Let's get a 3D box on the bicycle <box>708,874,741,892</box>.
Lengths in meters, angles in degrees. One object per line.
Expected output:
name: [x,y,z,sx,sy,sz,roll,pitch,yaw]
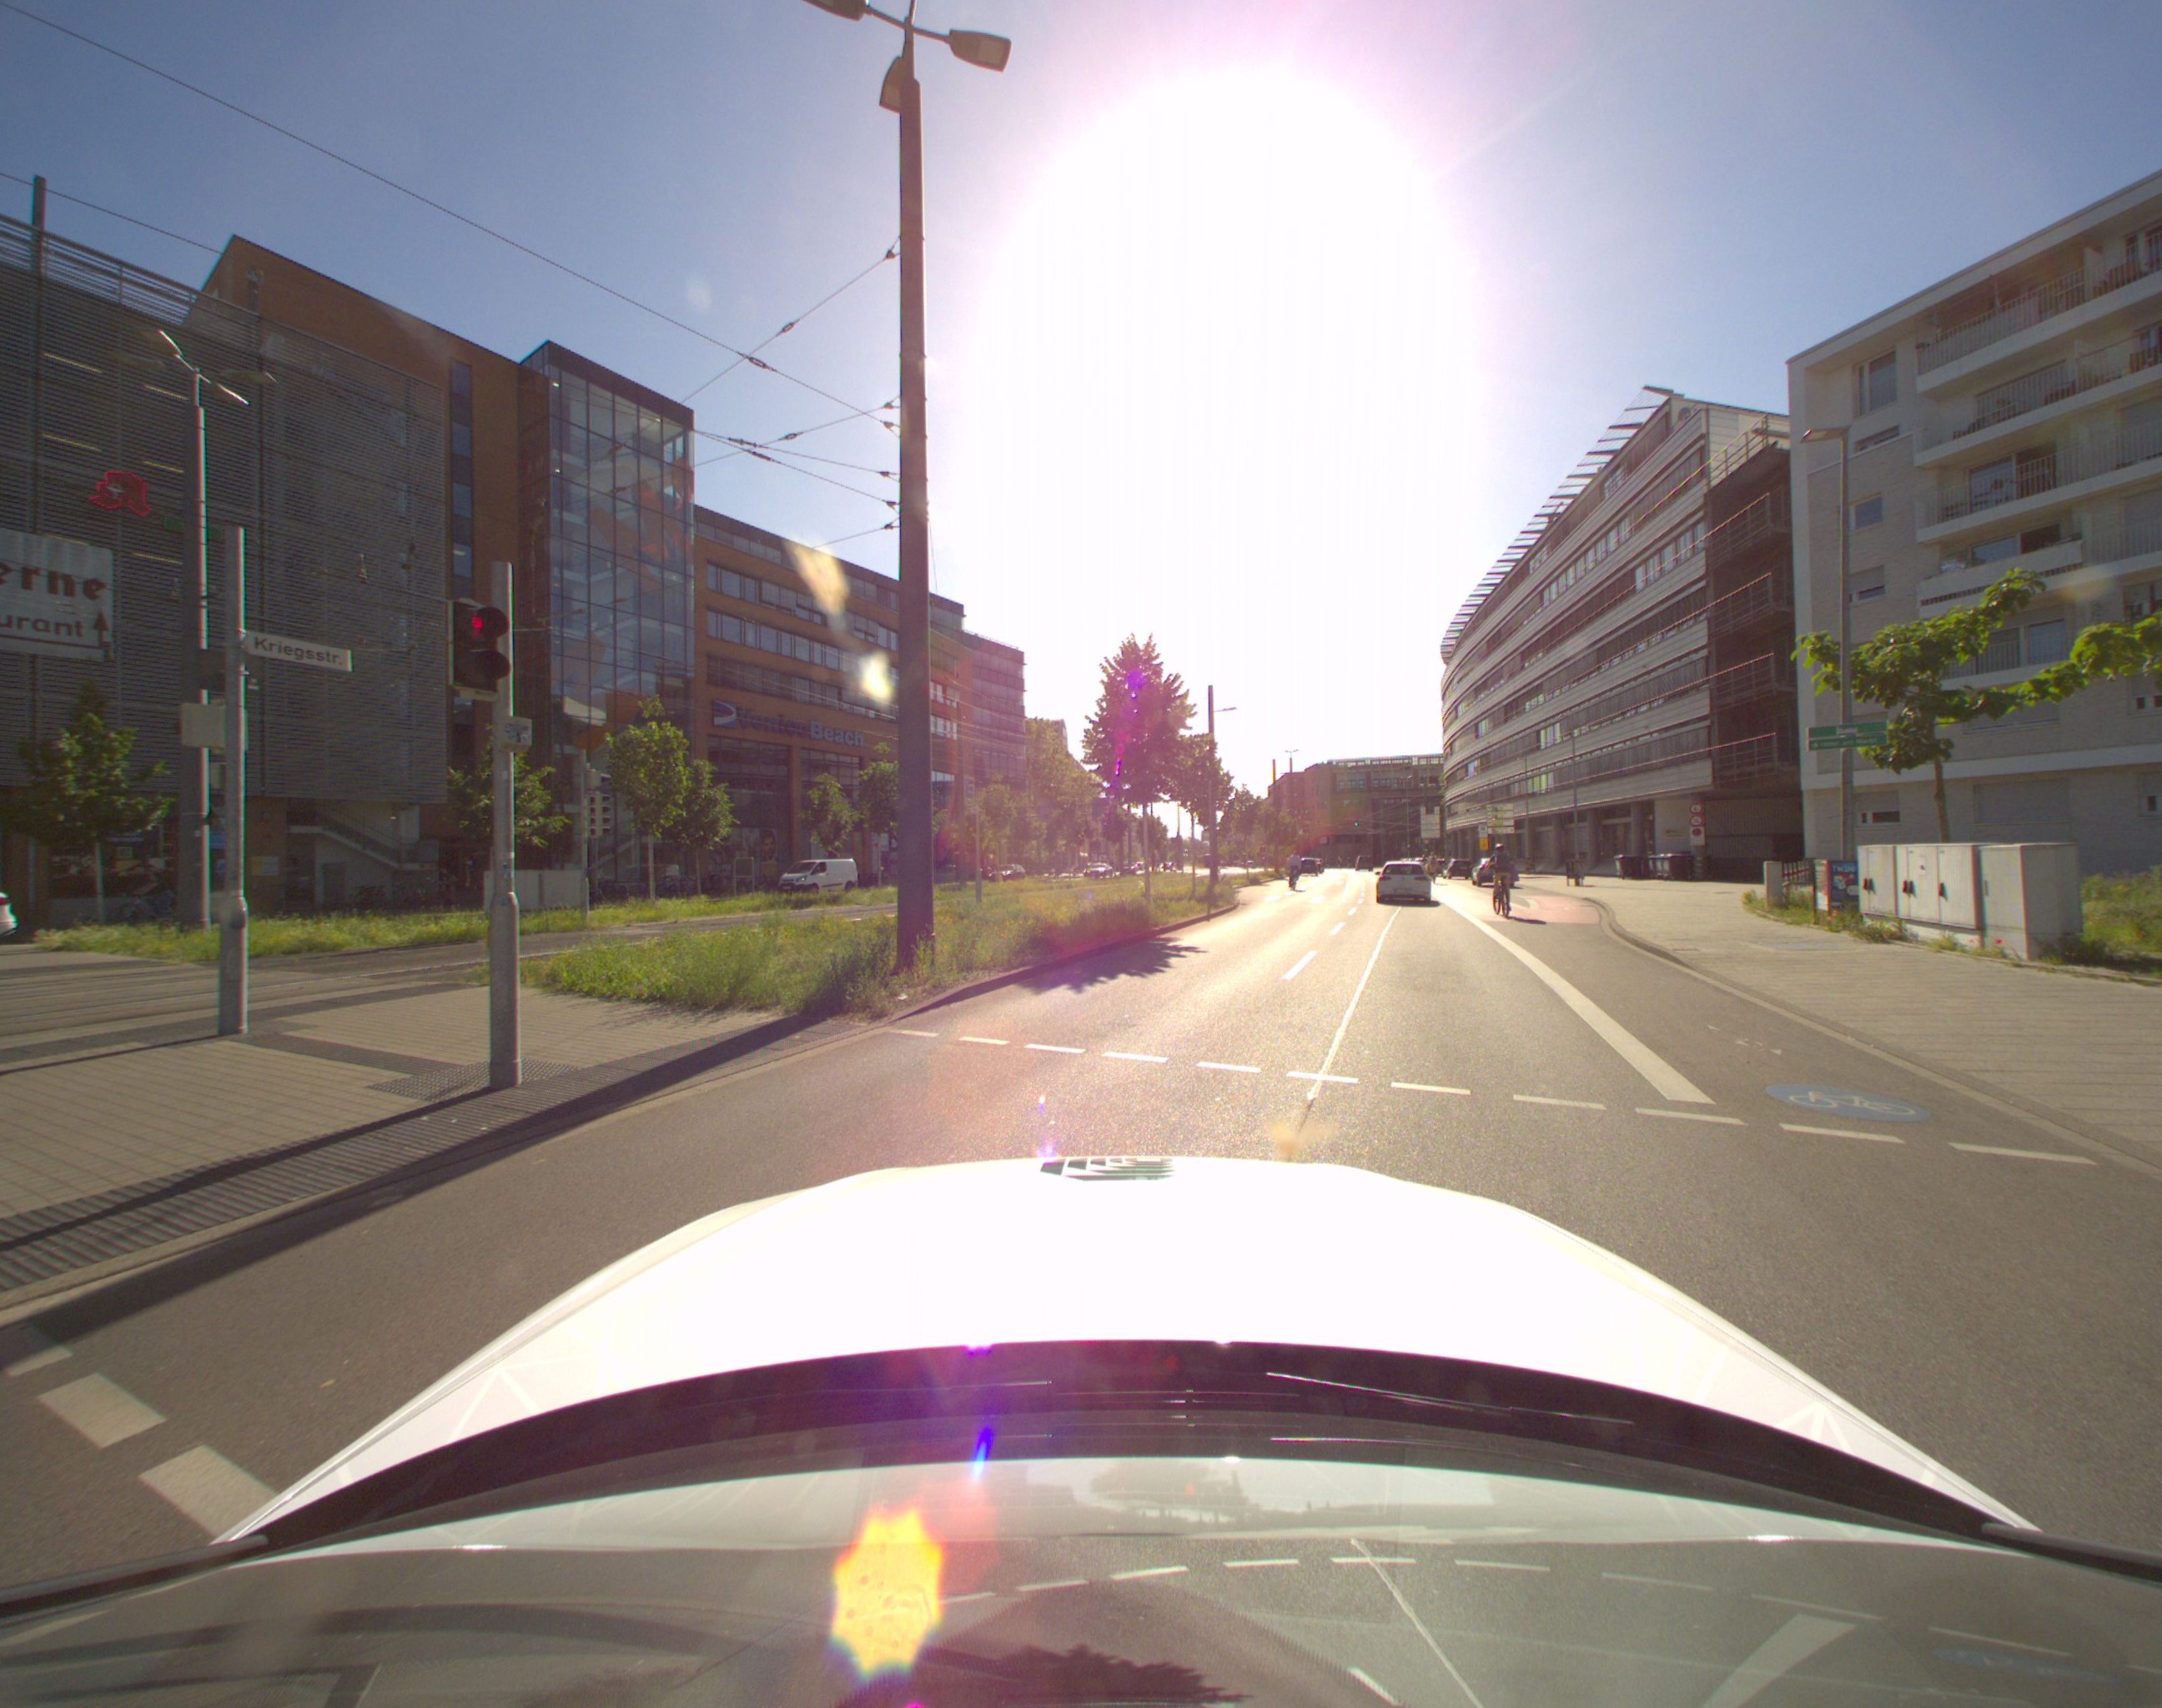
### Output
bicycle: [-23.255,1.905,53.091,2.153,1.123,0.758,0,-1,26]

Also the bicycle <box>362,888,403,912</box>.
bicycle: [-29.441,1.916,34.336,2.153,0.954,0.496,0,-1,26]

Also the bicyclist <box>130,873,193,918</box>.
bicyclist: [-30.372,1.352,26.912,0.586,1.407,1.321,-2,-1,33]

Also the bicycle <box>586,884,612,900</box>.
bicycle: [-25.478,2.013,43.054,1.433,0.819,0.448,0,-1,26]

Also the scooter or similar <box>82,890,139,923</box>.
scooter or similar: [-33.630,1.806,28.222,0.273,1.103,1.213,-2,-3,34]

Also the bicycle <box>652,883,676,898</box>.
bicycle: [-23.629,2.072,46.165,1.433,0.819,0.448,0,-1,26]

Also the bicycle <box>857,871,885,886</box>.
bicycle: [-16.506,1.945,63.991,2.153,1.123,0.758,0,-1,26]

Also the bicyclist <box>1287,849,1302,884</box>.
bicyclist: [10.249,0.597,39.028,0.613,1.669,1.024,0,0,18]

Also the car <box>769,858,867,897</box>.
car: [-14.389,1.245,44.921,2.201,2.014,5.284,-1,-1,23]

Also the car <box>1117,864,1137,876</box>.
car: [5.510,1.926,97.592,1.416,1.359,3.312,-1,-1,20]

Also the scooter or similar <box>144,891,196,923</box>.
scooter or similar: [-33.029,1.903,29.543,0.273,1.103,1.213,-2,-3,34]

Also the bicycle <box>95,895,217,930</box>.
bicycle: [-30.395,1.896,26.823,0.590,1.010,2.585,-2,-1,33]

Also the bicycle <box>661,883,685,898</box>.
bicycle: [-23.350,2.072,46.596,1.433,0.819,0.448,0,-1,26]

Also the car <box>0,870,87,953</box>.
car: [-23.228,1.178,15.223,1.792,1.652,5.576,-1,-1,23]

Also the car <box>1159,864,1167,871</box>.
car: [16.794,2.779,167.088,1.602,1.398,3.925,-5,-1,5]

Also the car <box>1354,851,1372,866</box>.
car: [33.288,0.540,96.191,1.768,1.703,4.156,1,0,17]

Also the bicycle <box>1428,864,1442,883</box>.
bicycle: [20.963,1.167,48.232,0.643,1.110,1.767,-2,-2,22]

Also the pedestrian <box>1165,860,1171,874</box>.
pedestrian: [11.101,1.670,104.057,0.582,1.831,0.494,-1,-1,-21]

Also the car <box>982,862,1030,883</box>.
car: [-6.177,1.503,67.693,1.976,1.681,4.562,-1,-1,22]

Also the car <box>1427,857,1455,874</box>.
car: [31.184,0.959,70.566,1.708,1.396,4.810,-1,-1,18]

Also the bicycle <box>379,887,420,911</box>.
bicycle: [-29.237,1.925,34.935,2.153,0.954,0.496,0,-1,26]

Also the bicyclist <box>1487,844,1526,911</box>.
bicyclist: [10.925,0.586,20.955,0.799,1.693,1.057,0,0,23]

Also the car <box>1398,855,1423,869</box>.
car: [36.748,0.870,90.977,1.893,1.541,4.151,1,0,12]

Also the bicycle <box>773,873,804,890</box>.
bicycle: [-20.526,1.903,57.060,2.153,1.123,0.758,0,-1,26]

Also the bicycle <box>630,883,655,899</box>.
bicycle: [-24.239,2.045,45.042,1.433,0.819,0.448,0,-1,26]

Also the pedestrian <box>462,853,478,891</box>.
pedestrian: [-31.446,0.925,41.939,0.369,1.915,0.544,-2,-3,40]

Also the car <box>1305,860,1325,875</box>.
car: [23.376,1.361,81.315,1.713,1.449,4.541,-1,-1,18]

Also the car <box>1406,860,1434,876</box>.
car: [35.398,1.484,85.202,1.894,1.583,4.150,1,0,11]

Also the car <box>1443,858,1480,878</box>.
car: [27.423,0.984,58.822,1.708,1.422,4.657,0,0,16]

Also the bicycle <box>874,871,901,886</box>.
bicycle: [-15.608,1.970,65.589,2.153,1.123,0.758,0,-1,26]

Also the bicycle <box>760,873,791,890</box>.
bicycle: [-21.076,1.897,56.202,2.153,1.123,0.758,0,-1,26]

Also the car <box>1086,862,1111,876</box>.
car: [1.823,1.509,83.243,1.983,1.334,4.799,-1,-1,7]

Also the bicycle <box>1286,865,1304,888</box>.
bicycle: [10.264,1.059,39.095,0.681,1.069,2.709,0,0,18]

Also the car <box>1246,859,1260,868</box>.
car: [36.610,2.025,173.265,2.253,1.727,3.946,-1,-1,2]

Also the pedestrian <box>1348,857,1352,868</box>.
pedestrian: [40.475,1.261,122.606,0.477,1.656,0.491,-1,-1,0]

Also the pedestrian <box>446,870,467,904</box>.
pedestrian: [-29.345,1.544,38.277,0.629,1.553,0.666,-2,-1,38]

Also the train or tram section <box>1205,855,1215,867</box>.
train or tram section: [33.166,1.726,210.157,2.313,3.003,13.188,-1,-1,8]

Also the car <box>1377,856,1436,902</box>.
car: [11.244,0.810,28.256,1.758,1.403,4.315,1,0,21]

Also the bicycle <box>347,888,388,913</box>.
bicycle: [-29.646,1.910,33.817,2.153,0.954,0.496,0,-1,26]

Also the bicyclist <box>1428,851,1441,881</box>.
bicyclist: [21.059,0.680,48.502,0.643,1.752,1.051,-1,0,22]

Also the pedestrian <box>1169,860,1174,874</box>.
pedestrian: [11.803,1.729,106.294,0.386,1.831,0.461,-1,-1,-14]

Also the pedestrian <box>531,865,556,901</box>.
pedestrian: [-25.622,1.362,38.809,0.590,1.685,0.782,-1,-1,19]

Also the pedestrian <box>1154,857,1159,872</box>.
pedestrian: [9.593,1.361,103.085,0.462,1.831,0.455,-1,-1,-21]

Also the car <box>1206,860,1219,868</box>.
car: [28.019,2.154,174.072,2.253,1.727,3.946,-1,-1,2]

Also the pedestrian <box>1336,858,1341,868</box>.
pedestrian: [38.515,1.327,121.860,0.477,1.579,0.414,-1,-1,0]

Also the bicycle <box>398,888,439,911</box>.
bicycle: [-28.914,1.965,35.535,2.153,0.954,0.496,0,-1,26]

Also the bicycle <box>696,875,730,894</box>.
bicycle: [-23.601,1.946,52.186,2.153,1.123,0.758,0,-1,26]

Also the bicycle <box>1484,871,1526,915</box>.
bicycle: [10.964,0.978,21.107,0.818,1.037,1.902,0,0,23]

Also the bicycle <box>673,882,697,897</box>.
bicycle: [-23.070,2.075,47.428,1.433,0.819,0.448,0,-1,26]

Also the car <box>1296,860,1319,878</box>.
car: [19.777,1.295,70.969,1.712,1.564,3.695,-1,-1,18]

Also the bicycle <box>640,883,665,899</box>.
bicycle: [-23.978,2.061,45.563,1.433,0.819,0.448,0,-1,26]

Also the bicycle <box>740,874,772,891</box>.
bicycle: [-21.815,1.909,54.691,2.153,1.123,0.758,0,-1,26]

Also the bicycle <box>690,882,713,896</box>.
bicycle: [-22.519,2.083,48.301,1.433,0.819,0.448,0,-1,26]

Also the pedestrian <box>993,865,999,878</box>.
pedestrian: [-10.326,2.110,98.715,0.502,1.624,0.791,-1,-2,17]

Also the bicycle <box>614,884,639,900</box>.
bicycle: [-24.631,2.040,44.117,1.433,0.819,0.448,0,-1,26]

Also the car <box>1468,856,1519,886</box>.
car: [22.167,0.904,43.910,1.708,1.524,4.419,-1,-1,18]

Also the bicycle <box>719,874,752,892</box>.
bicycle: [-22.875,1.893,53.883,2.153,1.123,0.758,0,-1,26]
